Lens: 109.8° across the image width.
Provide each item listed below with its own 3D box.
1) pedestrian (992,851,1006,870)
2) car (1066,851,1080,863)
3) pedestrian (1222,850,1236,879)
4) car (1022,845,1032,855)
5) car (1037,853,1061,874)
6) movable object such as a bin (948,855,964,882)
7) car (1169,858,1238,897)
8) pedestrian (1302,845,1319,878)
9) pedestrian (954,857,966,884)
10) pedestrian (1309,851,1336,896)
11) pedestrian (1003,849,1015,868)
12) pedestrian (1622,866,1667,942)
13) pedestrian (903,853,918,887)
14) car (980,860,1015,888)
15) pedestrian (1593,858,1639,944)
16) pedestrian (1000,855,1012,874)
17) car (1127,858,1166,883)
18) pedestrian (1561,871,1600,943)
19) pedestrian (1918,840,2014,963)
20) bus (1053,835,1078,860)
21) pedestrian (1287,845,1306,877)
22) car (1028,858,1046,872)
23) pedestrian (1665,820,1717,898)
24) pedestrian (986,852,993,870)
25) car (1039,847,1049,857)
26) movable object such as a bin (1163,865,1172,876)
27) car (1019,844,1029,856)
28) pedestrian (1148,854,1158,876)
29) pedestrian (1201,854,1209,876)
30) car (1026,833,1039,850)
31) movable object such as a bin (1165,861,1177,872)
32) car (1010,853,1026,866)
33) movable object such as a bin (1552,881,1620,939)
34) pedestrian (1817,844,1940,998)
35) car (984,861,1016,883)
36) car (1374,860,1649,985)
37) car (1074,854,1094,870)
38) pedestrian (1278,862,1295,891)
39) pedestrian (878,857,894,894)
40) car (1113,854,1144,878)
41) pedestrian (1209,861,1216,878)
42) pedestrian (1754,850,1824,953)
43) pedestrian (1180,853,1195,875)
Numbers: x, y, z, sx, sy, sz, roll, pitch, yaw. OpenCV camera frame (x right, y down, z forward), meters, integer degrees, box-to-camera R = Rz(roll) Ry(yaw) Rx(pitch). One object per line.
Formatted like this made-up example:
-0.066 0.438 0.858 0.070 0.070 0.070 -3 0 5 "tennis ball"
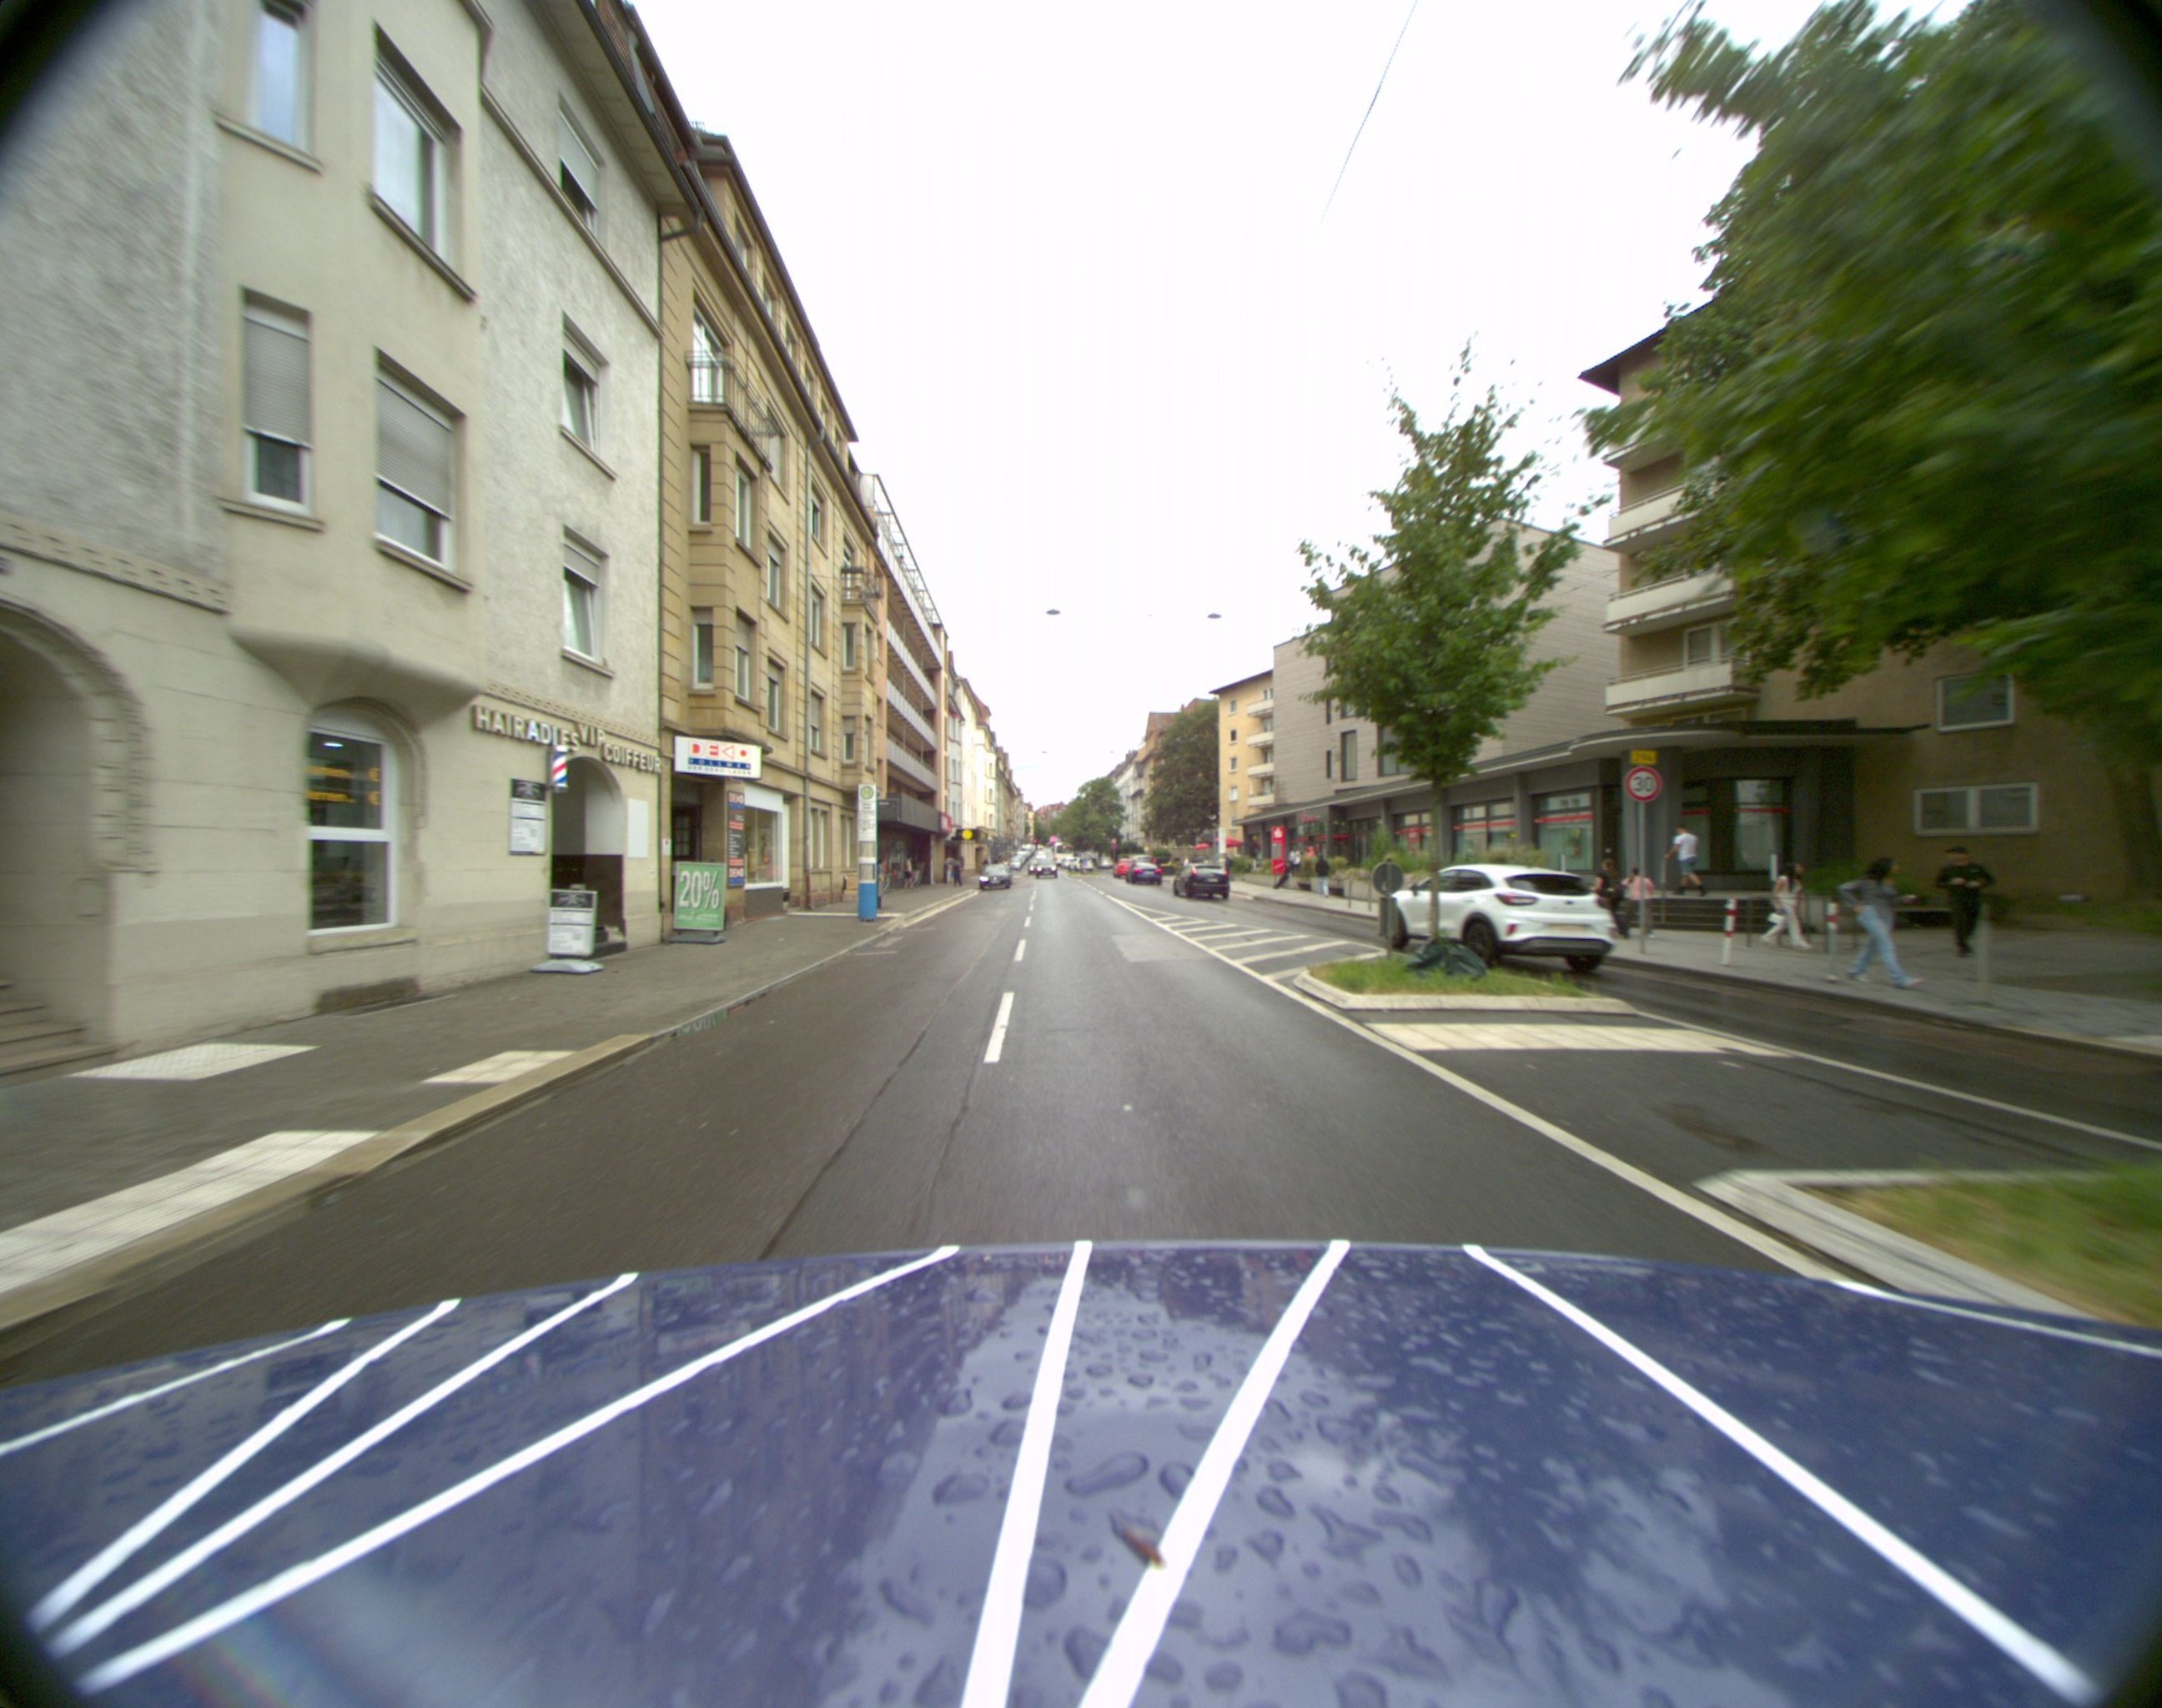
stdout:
-7.892 0.635 72.911 1.060 1.738 0.856 1 1 39 "pedestrian"
-1.016 0.373 93.975 1.620 1.455 3.804 2 1 -3 "car"
9.481 0.647 48.606 0.591 1.809 0.869 -1 1 -11 "pedestrian"
-9.718 -0.751 137.503 1.720 1.871 3.906 -1 1 -4 "car"
-2.783 0.812 65.248 1.857 1.646 4.203 -1 0 -6 "car"
-8.747 1.010 53.110 1.002 1.783 1.295 0 1 -5 "movable object such as a bin"
5.126 0.947 32.412 1.961 1.548 4.241 1 0 -5 "car"
11.824 0.384 39.160 0.712 1.669 0.801 -1 1 25 "pedestrian"
-7.489 1.024 47.113 0.627 1.642 0.748 2 0 -3 "pedestrian"
9.840 0.785 30.999 0.724 1.815 0.720 -2 0 -22 "pedestrian"
-6.445 0.386 68.178 0.701 1.637 0.784 2 1 32 "pedestrian"
11.219 0.981 15.133 0.461 1.465 0.530 -1 1 -6 "pedestrian"
-9.321 0.874 41.563 0.597 1.848 0.727 -1 2 0 "pedestrian"
-4.915 1.149 45.128 1.735 1.538 3.980 -1 1 -2 "car"
10.654 0.917 15.138 0.499 1.663 0.552 -1 1 -6 "pedestrian"
-6.781 0.942 68.294 0.701 1.637 0.784 2 1 32 "pedestrian"
4.287 1.029 50.351 1.960 1.503 4.911 -1 0 -2 "car"
10.081 1.063 15.341 0.434 1.402 0.481 -1 1 -6 "pedestrian"
13.736 0.705 11.805 0.863 1.834 0.693 -1 1 -17 "pedestrian"
-2.342 -0.963 108.782 2.813 3.228 11.954 3 1 -4 "bus"
11.372 0.349 40.140 0.715 1.669 0.713 -1 1 -3 "pedestrian"
-4.572 1.144 79.297 1.810 1.412 3.999 -1 0 -3 "car"
14.545 0.106 18.128 0.724 1.815 0.720 -2 0 -31 "pedestrian"
-8.898 0.693 73.700 0.611 1.738 0.698 1 1 -2 "pedestrian"
-6.652 -0.426 136.551 1.796 1.768 3.901 -1 1 -4 "car"
8.172 1.559 71.576 0.742 1.052 0.579 -1 1 1 "movable object such as a bin"
-9.846 -0.695 130.942 1.733 1.887 3.549 -2 1 -4 "car"
6.438 0.982 68.177 0.703 2.002 0.782 -1 2 -7 "pedestrian"
8.761 0.757 53.547 0.438 1.540 0.533 -1 1 -4 "pedestrian"
-11.009 -2.791 172.112 2.555 3.613 9.045 -1 1 -5 "car"
8.383 1.148 70.729 0.743 1.052 0.811 -2 2 -28 "movable object such as a bin"
-7.893 0.654 95.619 1.856 1.456 4.202 -2 1 -4 "car"
10.582 1.154 15.945 0.705 1.128 0.965 -2 1 -6 "movable object such as a bin"
9.993 0.801 9.541 0.724 1.815 0.853 -2 0 -25 "pedestrian"
-5.495 1.196 51.867 1.739 1.302 3.766 -3 1 -1 "car"
6.556 0.936 12.201 1.825 1.560 4.087 3 0 -4 "car"
0.338 0.856 83.513 1.900 1.564 4.123 1 1 -3 "car"
10.175 1.101 37.659 0.590 1.412 0.726 -1 1 32 "pedestrian"
-8.281 0.907 32.218 0.563 1.563 0.626 -1 1 -19 "pedestrian"
4.065 0.998 65.585 2.112 1.755 5.056 1 2 -3 "car"
8.882 1.065 51.249 0.393 1.110 0.386 -1 1 -3 "pedestrian"
12.384 0.804 13.301 0.658 1.749 0.719 -1 1 -26 "pedestrian"
8.422 0.806 59.893 0.793 1.699 0.761 -3 1 -28 "pedestrian"
